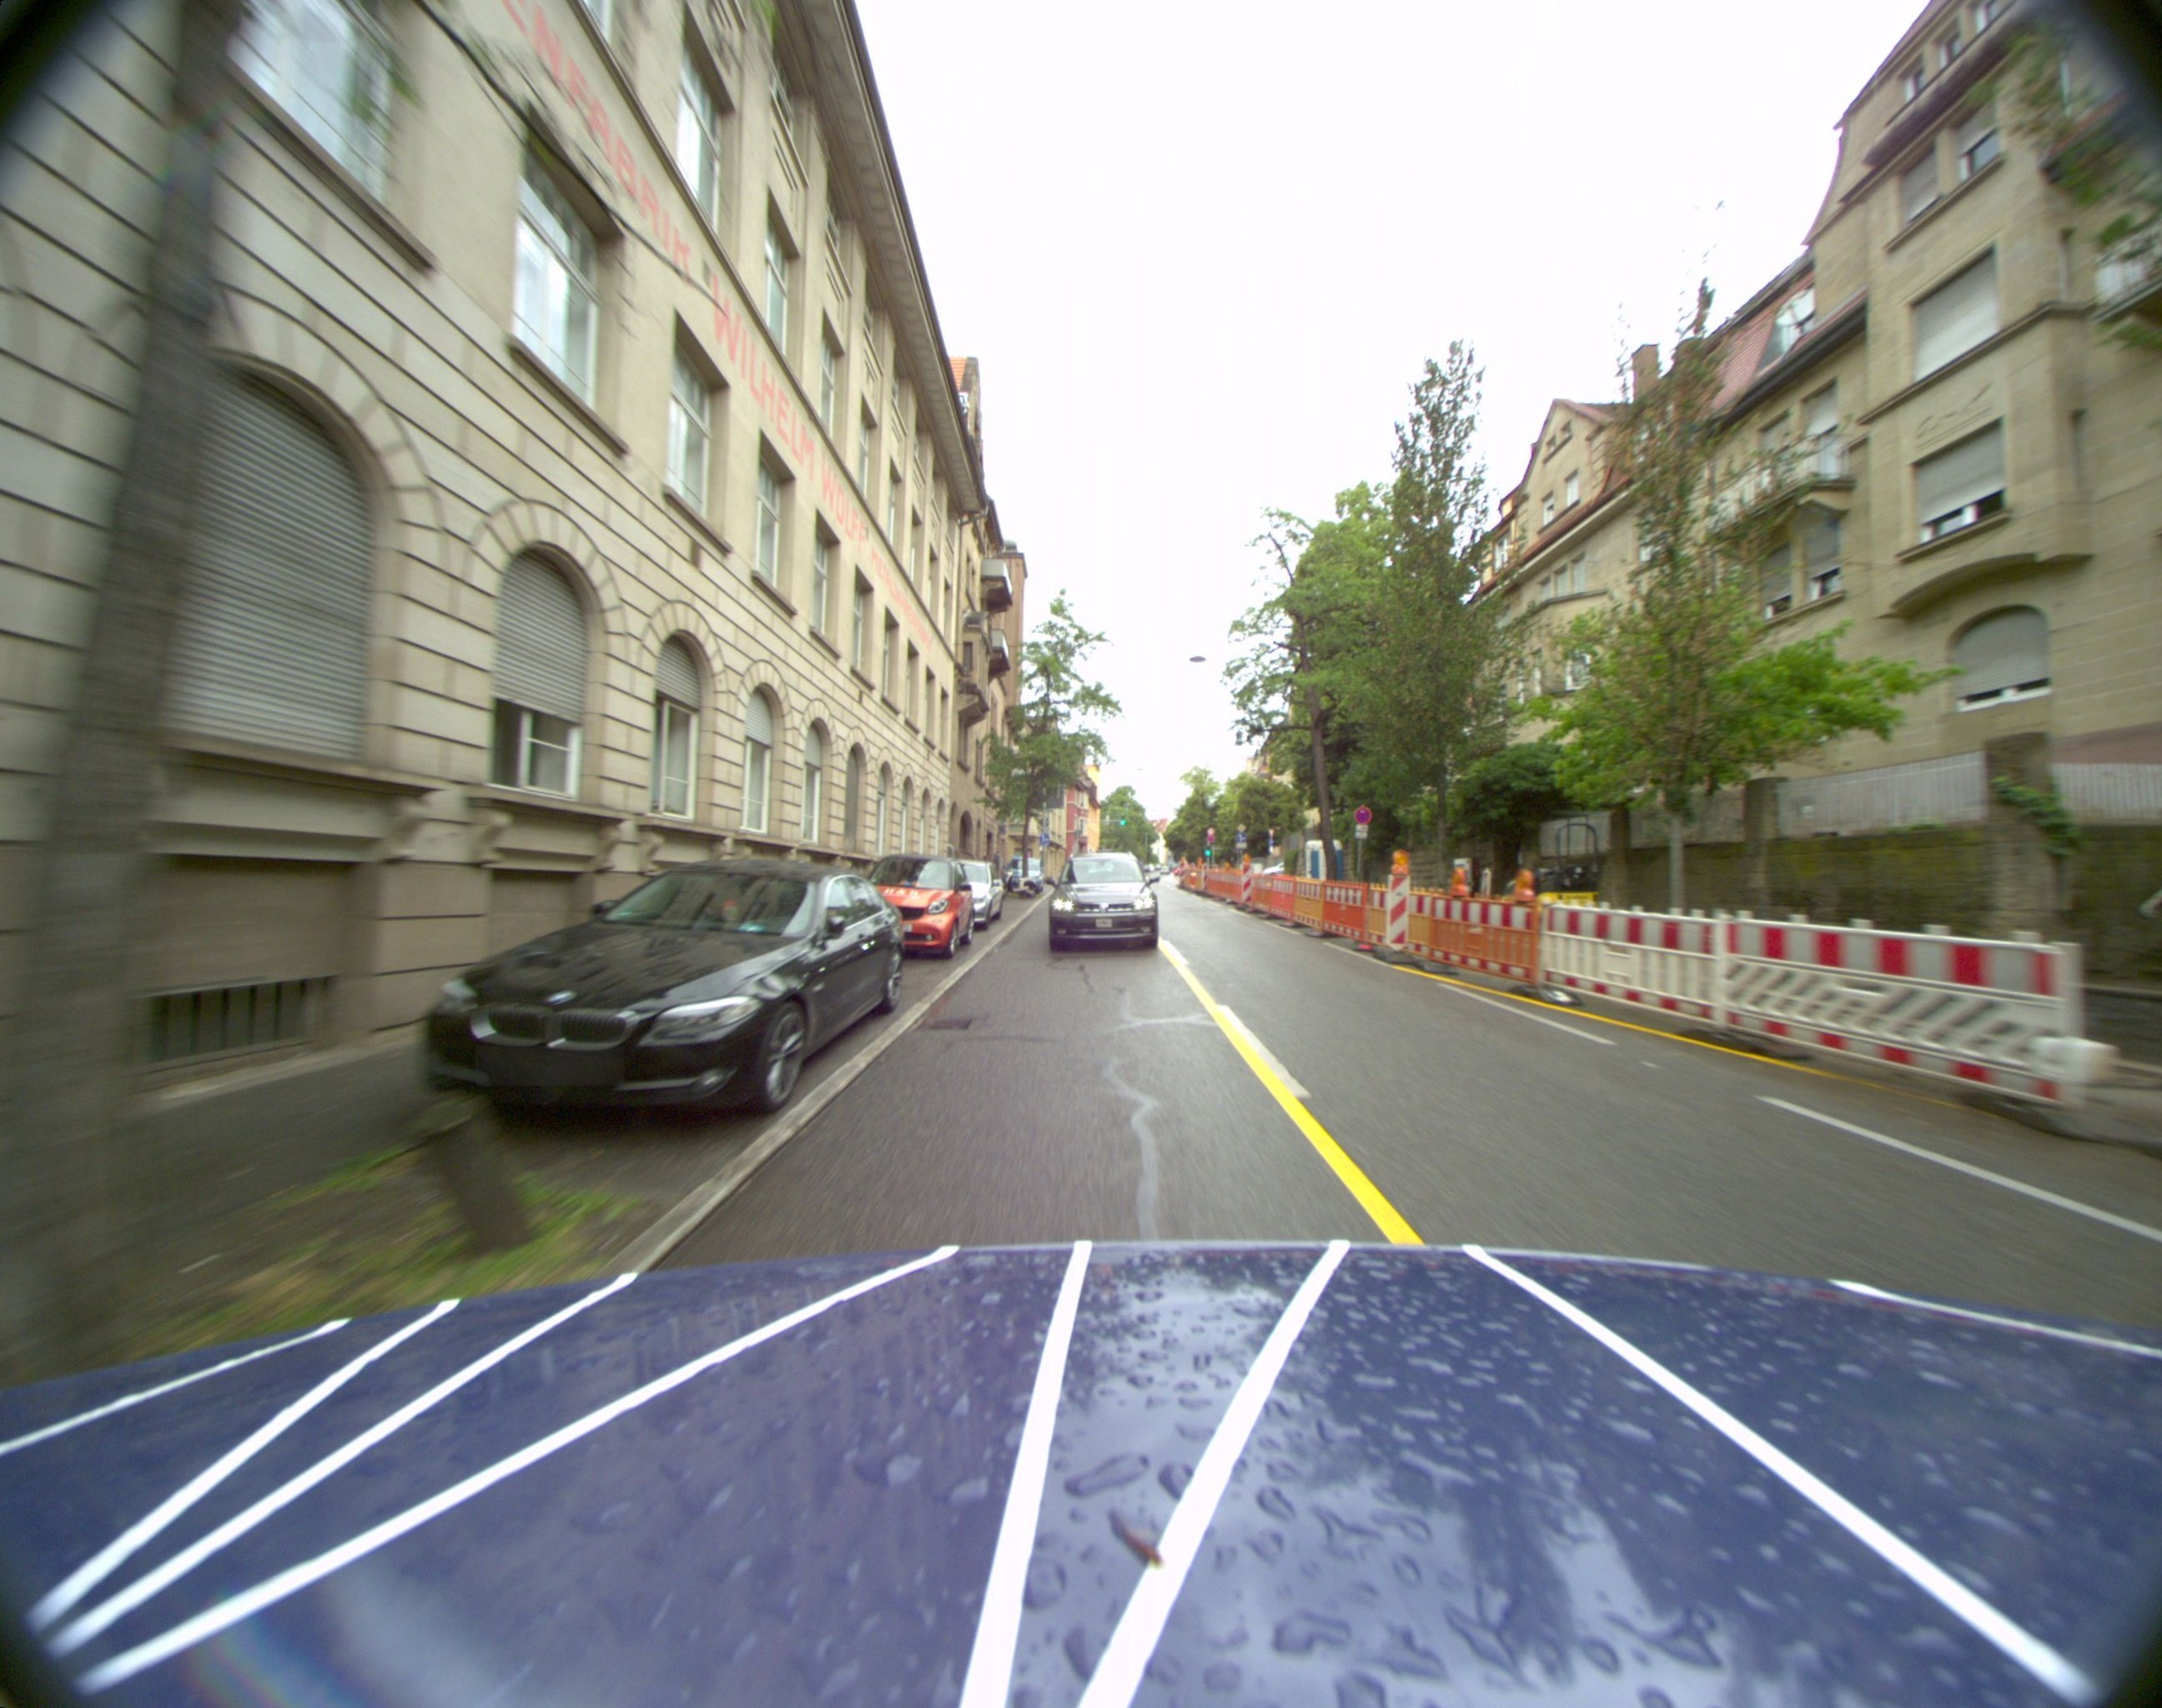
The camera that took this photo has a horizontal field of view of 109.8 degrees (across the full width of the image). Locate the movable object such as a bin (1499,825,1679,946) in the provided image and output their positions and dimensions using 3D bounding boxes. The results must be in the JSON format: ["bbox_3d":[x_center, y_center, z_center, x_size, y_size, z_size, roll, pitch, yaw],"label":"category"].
[{"bbox_3d":[10.505,0.607,15.970,1.998,2.286,2.816,1,0,4],"label":"movable object such as a bin"}]

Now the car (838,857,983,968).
[{"bbox_3d":[-2.680,0.859,12.620,1.642,1.511,3.183,3,0,0],"label":"car"}]

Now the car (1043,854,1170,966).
[{"bbox_3d":[0.360,0.862,13.738,1.860,1.641,5.195,0,-1,0],"label":"car"}]

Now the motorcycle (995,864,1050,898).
[{"bbox_3d":[-2.167,1.011,28.223,1.943,1.228,0.656,3,-1,-35],"label":"motorcycle"}]

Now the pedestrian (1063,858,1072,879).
[{"bbox_3d":[-1.171,1.264,66.311,0.720,1.763,0.665,3,-1,-2],"label":"pedestrian"}]

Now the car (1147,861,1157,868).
[{"bbox_3d":[16.811,2.411,180.478,1.923,1.552,4.016,4,1,11],"label":"car"}]

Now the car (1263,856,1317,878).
[{"bbox_3d":[15.945,0.952,58.075,3.868,1.401,1.827,-3,1,12],"label":"car"}]

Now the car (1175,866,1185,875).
[{"bbox_3d":[20.184,3.314,155.016,1.819,1.507,4.555,2,-4,8],"label":"car"}]

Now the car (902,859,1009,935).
[{"bbox_3d":[-2.743,0.893,17.580,1.699,1.423,4.422,3,0,0],"label":"car"}]

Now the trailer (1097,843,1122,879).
[{"bbox_3d":[2.528,0.577,65.997,1.966,3.023,2.366,-1,0,5],"label":"trailer"}]

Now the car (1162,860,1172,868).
[{"bbox_3d":[18.187,2.071,160.008,1.775,1.508,4.103,1,0,10],"label":"car"}]

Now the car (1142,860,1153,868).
[{"bbox_3d":[15.292,2.325,174.729,1.970,1.642,4.820,4,2,13],"label":"car"}]

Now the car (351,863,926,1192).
[{"bbox_3d":[-2.626,0.873,6.042,1.762,1.452,4.723,3,0,0],"label":"car"}]

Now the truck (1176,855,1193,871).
[{"bbox_3d":[26.464,2.406,194.121,2.651,3.832,9.320,2,0,17],"label":"truck"}]

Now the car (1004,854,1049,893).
[{"bbox_3d":[-2.384,0.826,34.050,1.661,1.534,3.665,2,0,0],"label":"car"}]

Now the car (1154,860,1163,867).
[{"bbox_3d":[19.414,2.311,189.860,1.923,1.552,4.016,4,0,11],"label":"car"}]

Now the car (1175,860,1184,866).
[{"bbox_3d":[23.658,2.125,182.614,1.714,1.471,4.118,2,0,13],"label":"car"}]
